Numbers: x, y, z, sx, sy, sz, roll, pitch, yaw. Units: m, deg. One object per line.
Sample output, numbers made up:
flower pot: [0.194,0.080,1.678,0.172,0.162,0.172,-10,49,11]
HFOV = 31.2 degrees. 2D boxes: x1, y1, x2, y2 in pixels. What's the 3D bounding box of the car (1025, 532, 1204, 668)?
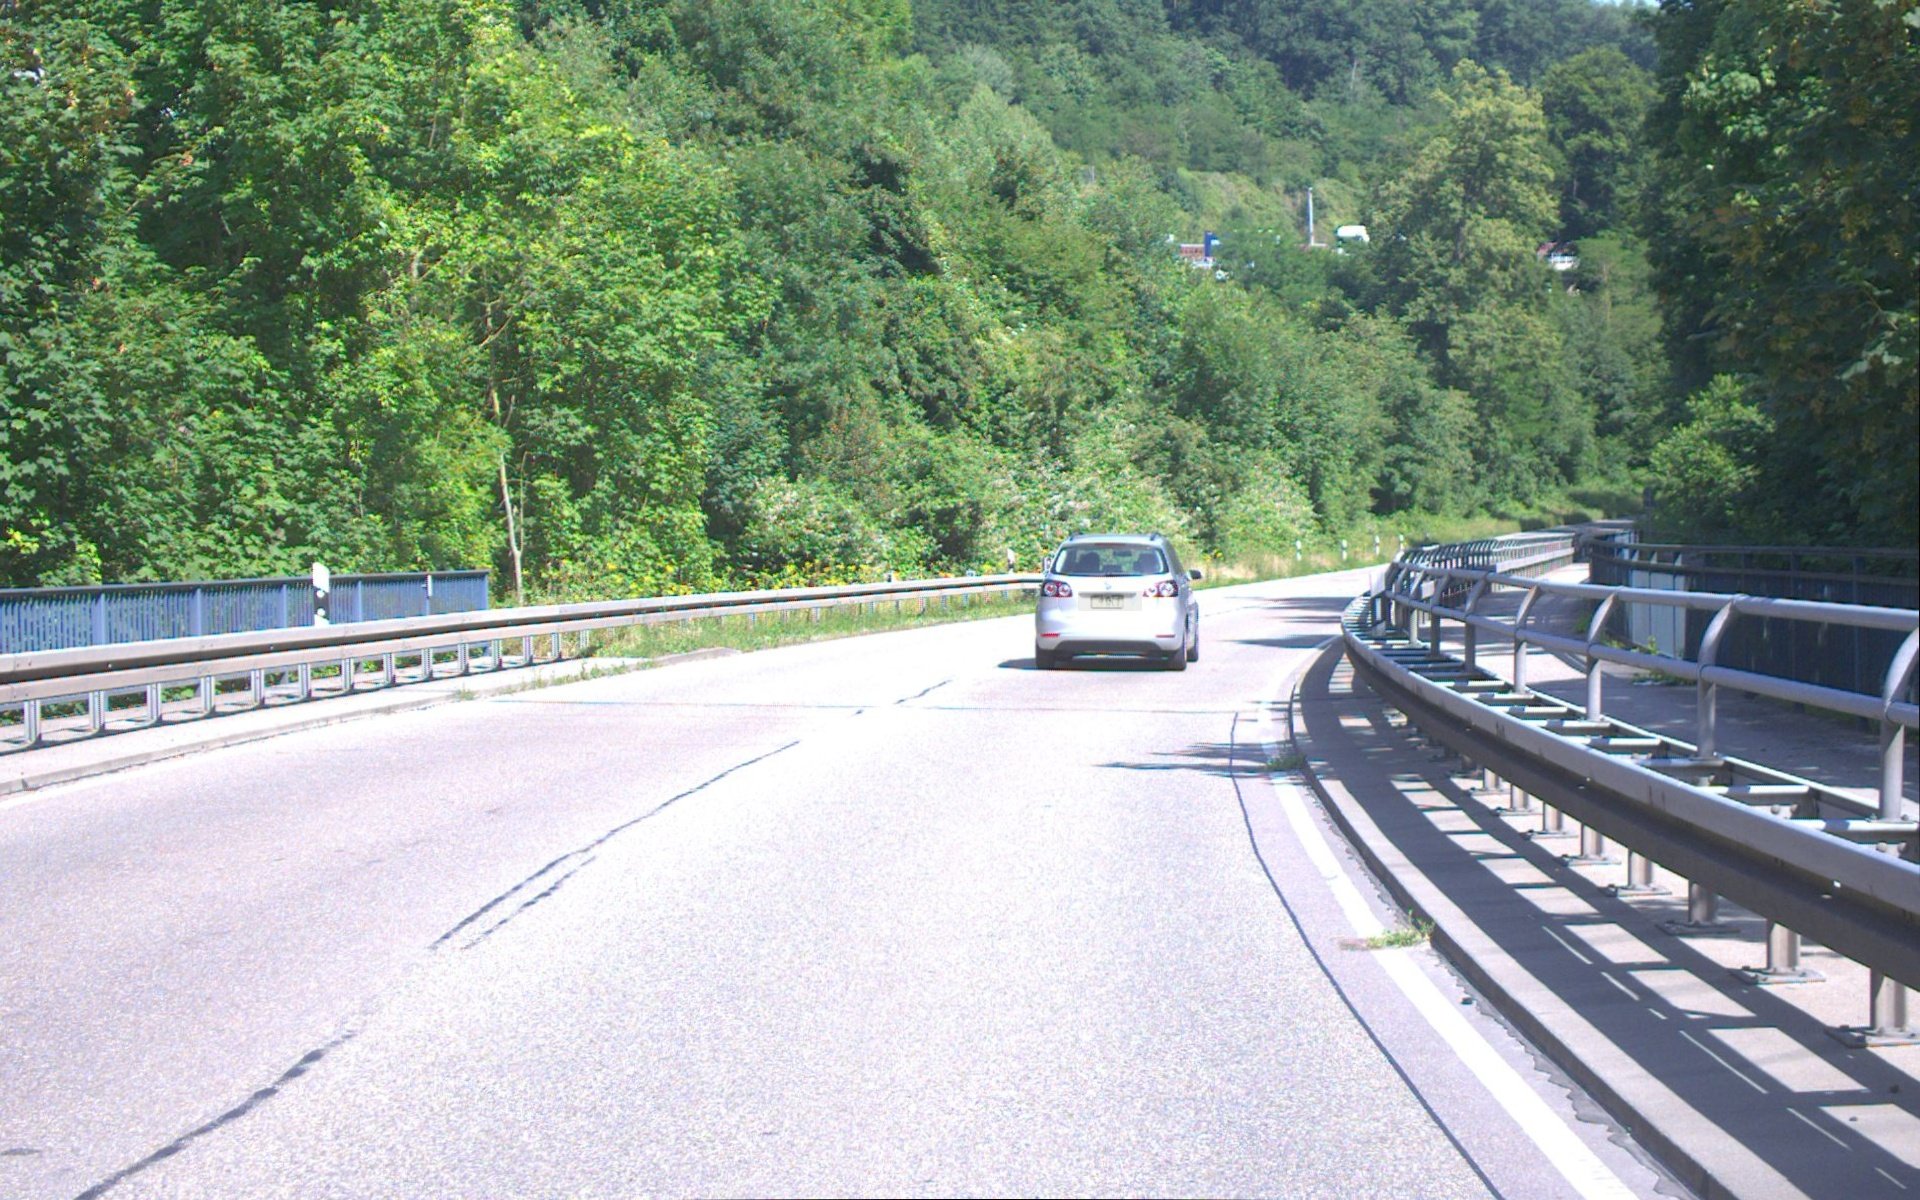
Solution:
car: [1.877,-0.021,40.663,1.752,1.515,4.158,1,1,8]
